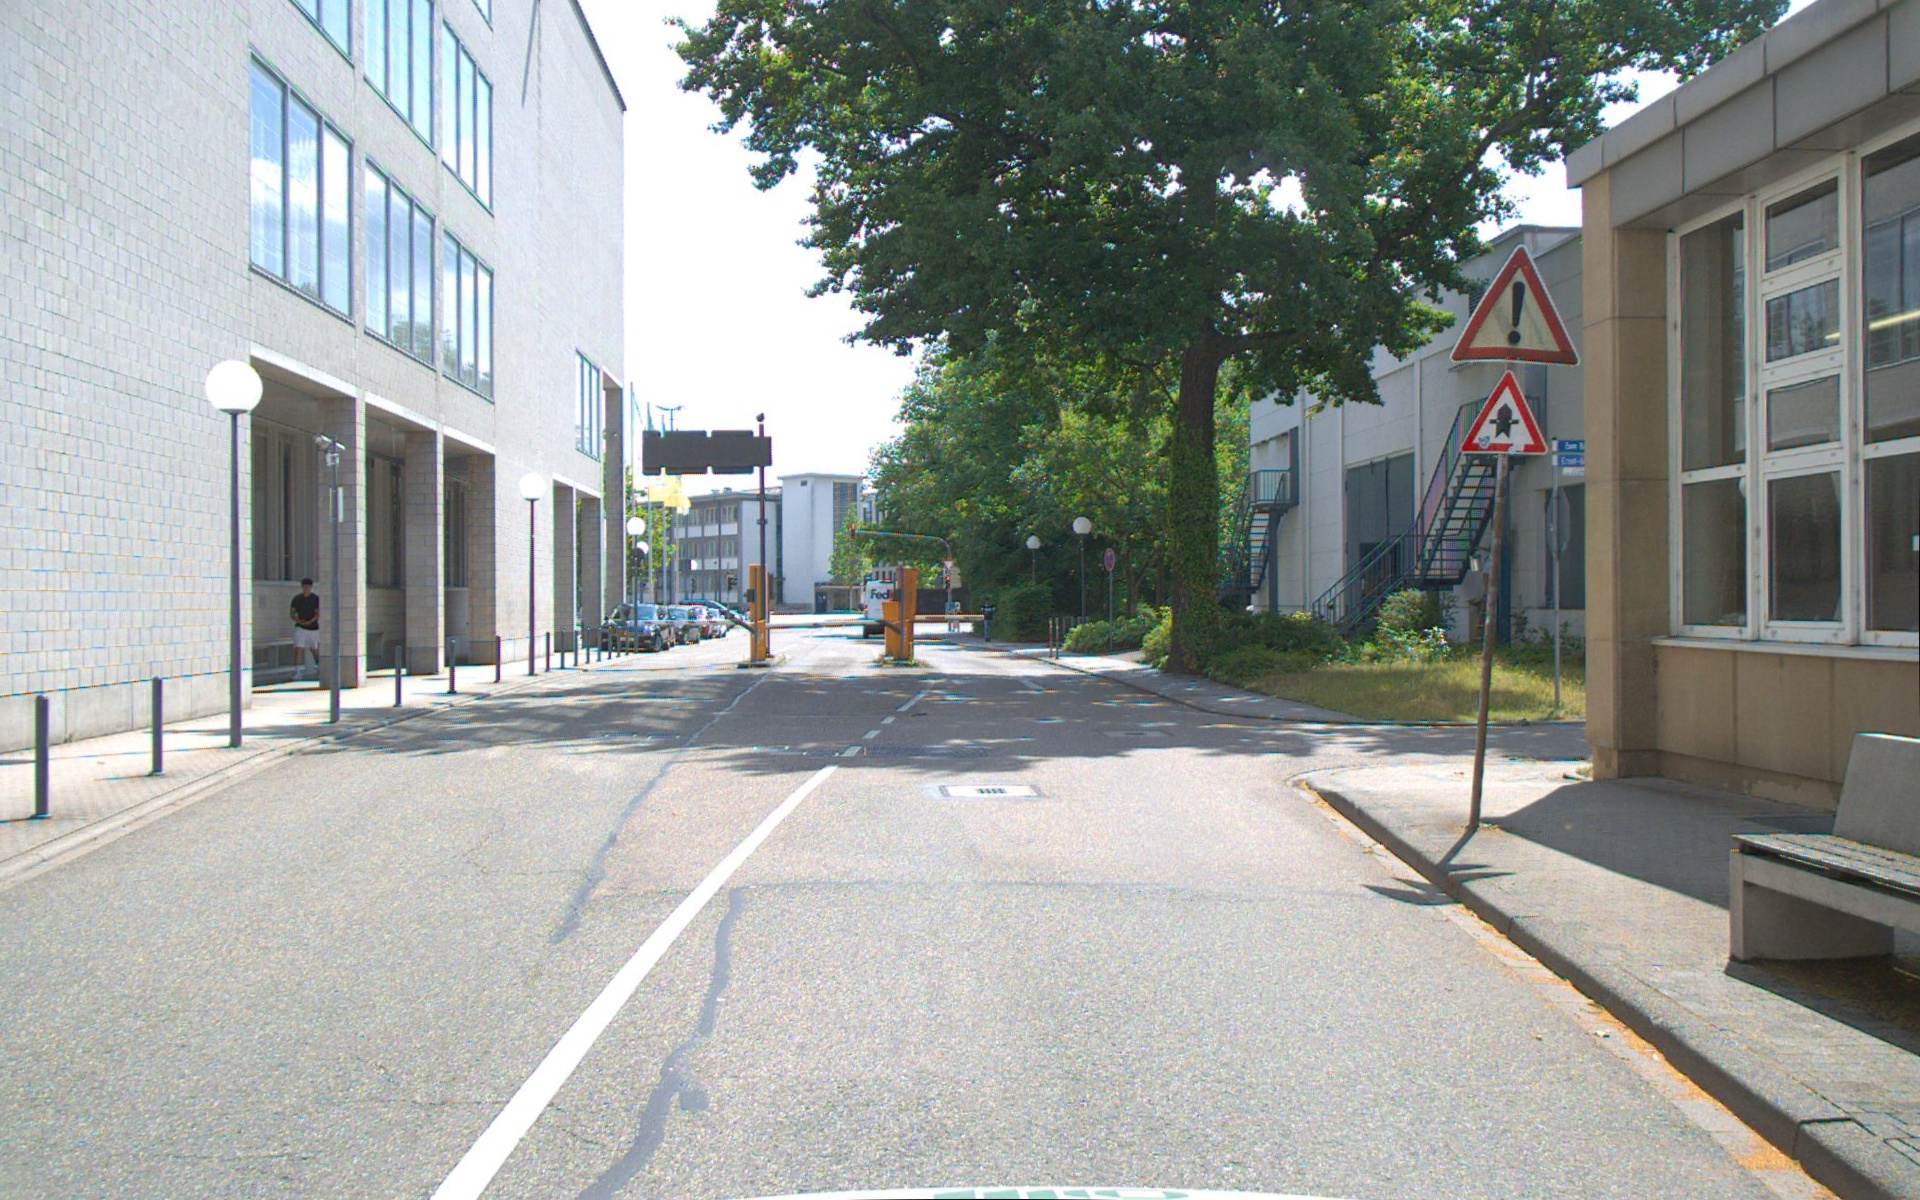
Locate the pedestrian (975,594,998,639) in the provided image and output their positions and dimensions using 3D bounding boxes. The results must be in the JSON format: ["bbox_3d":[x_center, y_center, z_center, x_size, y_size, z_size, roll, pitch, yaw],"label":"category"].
[{"bbox_3d":[1.018,0.635,64.123,0.725,1.704,1.254,0,0,-7],"label":"pedestrian"}]

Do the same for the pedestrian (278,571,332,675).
[{"bbox_3d":[-12.203,0.424,30.819,0.716,1.913,0.719,1,0,-4],"label":"pedestrian"}]

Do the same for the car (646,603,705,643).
[{"bbox_3d":[-10.947,0.857,64.001,1.823,1.402,5.010,2,0,-5],"label":"car"}]

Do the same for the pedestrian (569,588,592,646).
[{"bbox_3d":[-16.340,0.740,71.287,0.741,2.464,0.739,0,0,11],"label":"pedestrian"}]

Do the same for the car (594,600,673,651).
[{"bbox_3d":[-10.247,0.772,52.174,1.823,1.493,4.714,2,0,-4],"label":"car"}]

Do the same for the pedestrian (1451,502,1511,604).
[{"bbox_3d":[10.666,-0.943,33.896,0.908,2.049,0.949,-1,0,-1],"label":"pedestrian"}]

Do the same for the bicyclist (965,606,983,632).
[{"bbox_3d":[0.840,1.137,98.264,0.887,1.521,0.653,1,-1,-44],"label":"bicyclist"}]

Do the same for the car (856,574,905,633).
[{"bbox_3d":[-3.711,0.139,75.979,2.054,2.611,5.597,-1,0,-5],"label":"car"}]

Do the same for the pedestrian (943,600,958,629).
[{"bbox_3d":[-0.520,0.830,92.931,0.717,1.603,0.774,1,-1,-9],"label":"pedestrian"}]

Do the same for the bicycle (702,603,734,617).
[{"bbox_3d":[-22.972,0.959,157.112,2.940,1.387,1.100,1,-1,-42],"label":"bicycle"}]

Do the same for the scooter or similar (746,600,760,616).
[{"bbox_3d":[-15.719,0.617,125.442,0.704,1.199,2.714,0,0,-14],"label":"scooter or similar"}]

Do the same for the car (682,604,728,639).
[{"bbox_3d":[-11.571,0.949,75.208,1.643,1.493,3.908,2,0,-3],"label":"car"}]

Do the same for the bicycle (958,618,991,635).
[{"bbox_3d":[0.882,1.566,98.280,2.091,1.013,0.668,1,-1,-45],"label":"bicycle"}]

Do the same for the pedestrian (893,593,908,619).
[{"bbox_3d":[-4.465,0.460,124.455,1.060,1.903,0.831,0,0,-6],"label":"pedestrian"}]

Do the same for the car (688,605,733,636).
[{"bbox_3d":[-12.055,0.965,80.136,1.643,1.420,4.659,2,0,-3],"label":"car"}]
